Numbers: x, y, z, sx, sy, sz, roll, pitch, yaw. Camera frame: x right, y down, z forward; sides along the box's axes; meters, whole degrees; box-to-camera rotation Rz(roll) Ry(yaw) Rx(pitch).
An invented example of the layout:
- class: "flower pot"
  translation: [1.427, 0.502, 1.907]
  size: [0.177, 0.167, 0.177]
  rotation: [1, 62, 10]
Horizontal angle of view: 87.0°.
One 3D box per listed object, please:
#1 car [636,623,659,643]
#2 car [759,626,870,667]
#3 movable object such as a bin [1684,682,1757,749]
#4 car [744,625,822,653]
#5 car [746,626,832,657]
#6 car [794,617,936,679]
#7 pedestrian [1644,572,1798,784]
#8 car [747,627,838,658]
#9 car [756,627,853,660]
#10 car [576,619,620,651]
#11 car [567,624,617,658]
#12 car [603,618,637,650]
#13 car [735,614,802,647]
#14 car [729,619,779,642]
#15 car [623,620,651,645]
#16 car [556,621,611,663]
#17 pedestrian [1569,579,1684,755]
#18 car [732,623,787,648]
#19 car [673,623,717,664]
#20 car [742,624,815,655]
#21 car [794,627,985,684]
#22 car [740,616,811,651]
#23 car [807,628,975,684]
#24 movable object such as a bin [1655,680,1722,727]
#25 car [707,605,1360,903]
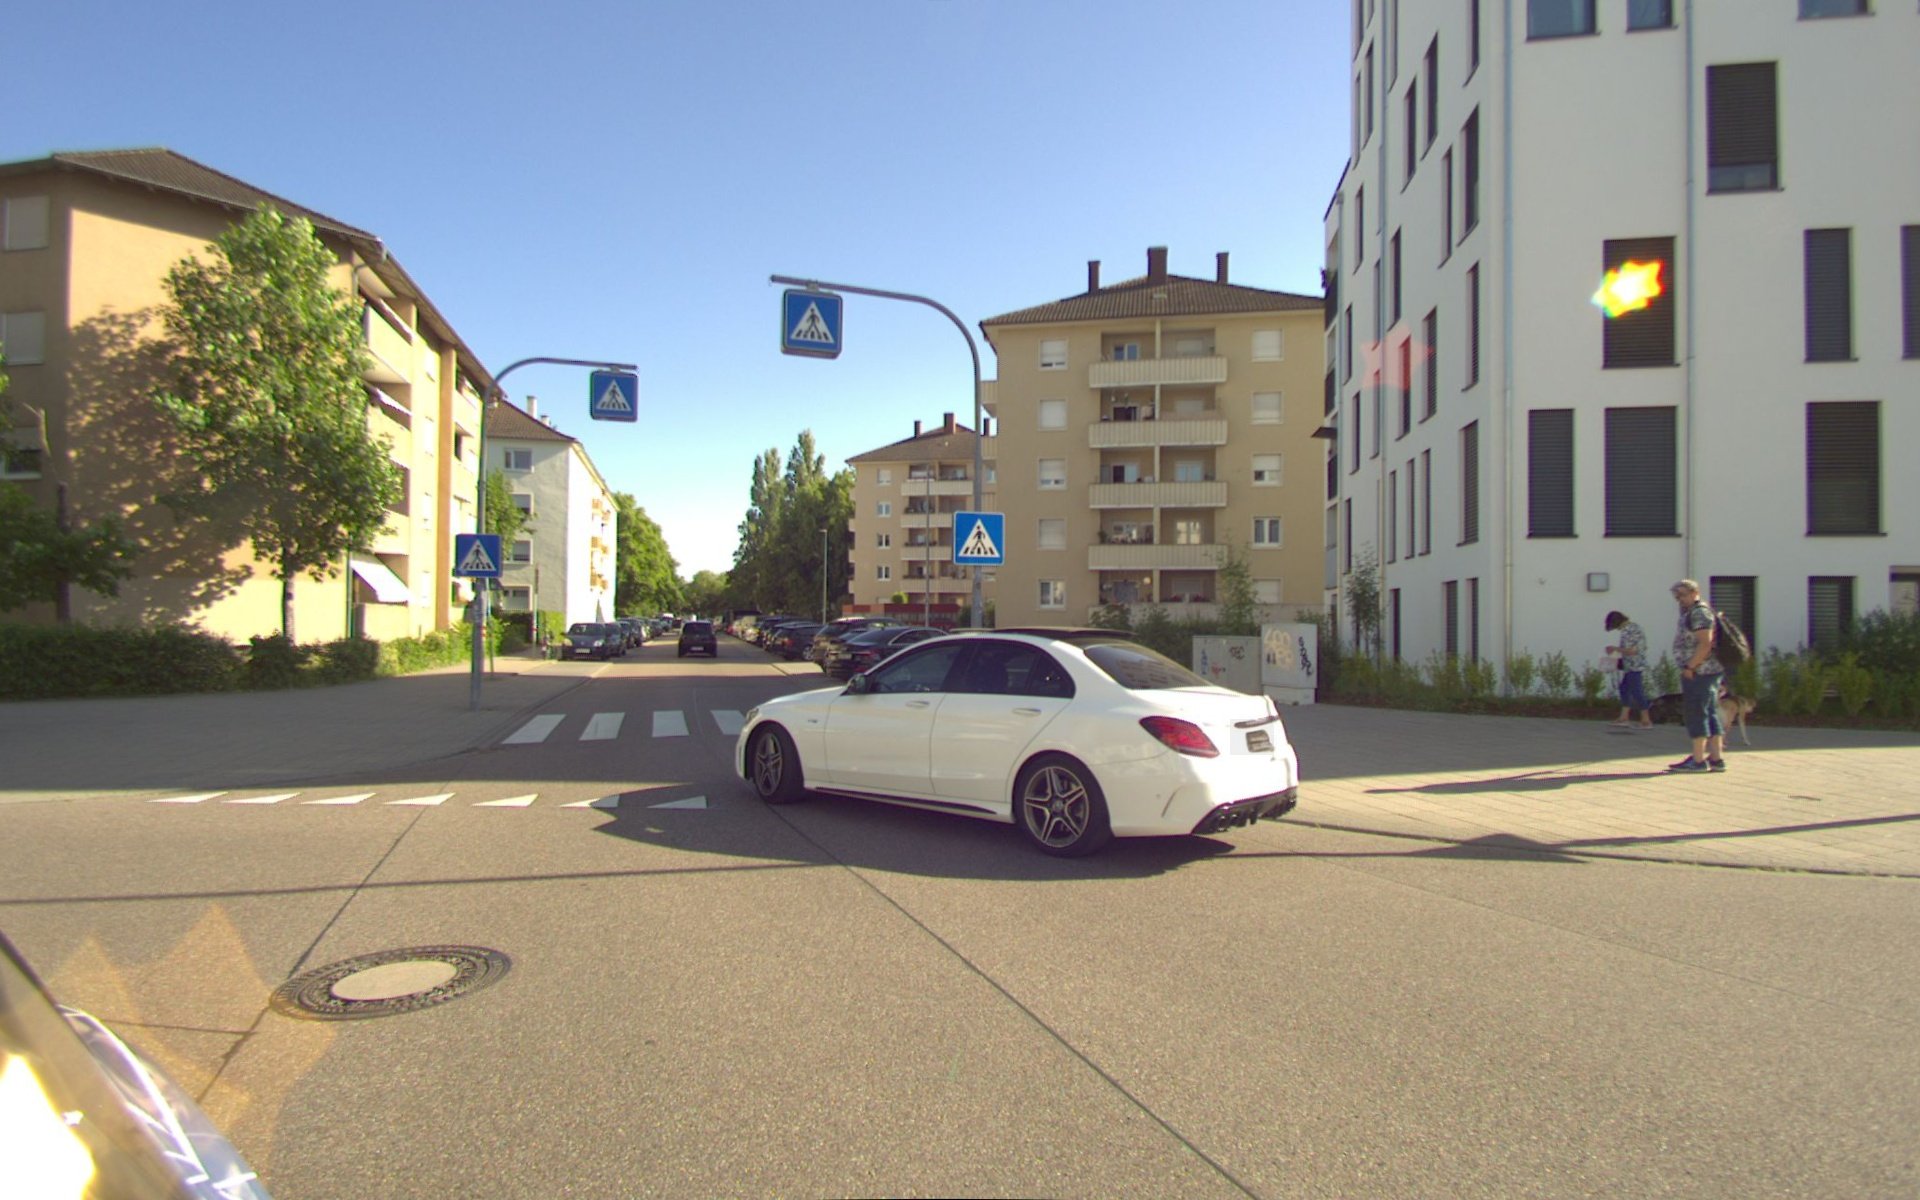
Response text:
- class: "car"
  translation: [-29.472, 3.096, 95.456]
  size: [1.966, 1.707, 4.012]
  rotation: [0, 0, -17]
- class: "car"
  translation: [-5.823, 1.838, 40.608]
  size: [3.936, 1.412, 2.004]
  rotation: [0, 1, -39]
- class: "movable object such as a bin"
  translation: [8.372, 1.261, 11.140]
  size: [0.834, 0.685, 0.273]
  rotation: [1, -1, -25]
- class: "car"
  translation: [-10.187, 2.208, 58.315]
  size: [3.934, 1.408, 2.005]
  rotation: [0, 1, -36]
- class: "car"
  translation: [-8.897, 2.142, 52.827]
  size: [3.938, 1.264, 2.003]
  rotation: [-3, 3, -41]
- class: "car"
  translation: [-2.827, 1.406, 30.743]
  size: [2.000, 1.664, 3.943]
  rotation: [-2, -1, 43]
- class: "pedestrian"
  translation: [7.139, 0.697, 9.538]
  size: [0.780, 1.899, 0.846]
  rotation: [0, 1, 1]
- class: "car"
  translation: [-8.225, 2.060, 49.733]
  size: [3.934, 1.320, 2.005]
  rotation: [0, 0, -36]
- class: "car"
  translation: [-7.123, 1.983, 46.445]
  size: [3.934, 1.320, 2.005]
  rotation: [0, 0, -36]
- class: "car"
  translation: [-19.453, 1.854, 54.523]
  size: [1.966, 1.475, 4.012]
  rotation: [-2, 1, -17]
- class: "car"
  translation: [-16.147, 1.773, 44.514]
  size: [1.965, 1.253, 4.013]
  rotation: [0, 1, -19]
- class: "car"
  translation: [-20.255, 2.015, 60.391]
  size: [1.814, 1.770, 4.012]
  rotation: [2, -2, -18]
- class: "car"
  translation: [-12.734, 1.998, 67.413]
  size: [3.934, 2.029, 2.005]
  rotation: [0, 1, -36]
- class: "car"
  translation: [-18.012, 2.640, 88.310]
  size: [3.930, 1.851, 2.007]
  rotation: [0, 1, -23]
- class: "car"
  translation: [-23.972, 2.406, 75.241]
  size: [1.966, 1.707, 4.012]
  rotation: [0, 0, -17]
- class: "car"
  translation: [-14.688, 1.623, 39.378]
  size: [1.876, 1.526, 4.013]
  rotation: [2, -2, -22]
- class: "pedestrian"
  translation: [8.489, 0.828, 12.912]
  size: [0.763, 2.137, 0.961]
  rotation: [0, -2, -36]
- class: "car"
  translation: [-15.917, 2.779, 80.412]
  size: [3.930, 1.851, 2.007]
  rotation: [0, 1, -23]
- class: "car"
  translation: [-11.821, 1.894, 44.943]
  size: [1.713, 1.541, 4.126]
  rotation: [0, 1, -17]
- class: "car"
  translation: [-10.925, 2.341, 60.967]
  size: [3.931, 1.652, 2.006]
  rotation: [0, 1, -29]
- class: "car"
  translation: [-1.683, 1.311, 25.130]
  size: [4.496, 1.176, 2.002]
  rotation: [-1, -1, -44]
- class: "car"
  translation: [-11.564, 2.075, 63.493]
  size: [3.933, 2.029, 2.005]
  rotation: [0, 1, -34]
- class: "car"
  translation: [-1.857, 1.509, 28.347]
  size: [4.496, 1.442, 2.002]
  rotation: [2, -3, -44]
- class: "movable object such as a bin"
  translation: [9.428, 1.330, 13.112]
  size: [0.684, 0.546, 0.269]
  rotation: [0, -1, 32]
- class: "car"
  translation: [0.336, 0.868, 7.615]
  size: [4.632, 1.516, 1.867]
  rotation: [1, -2, 38]
